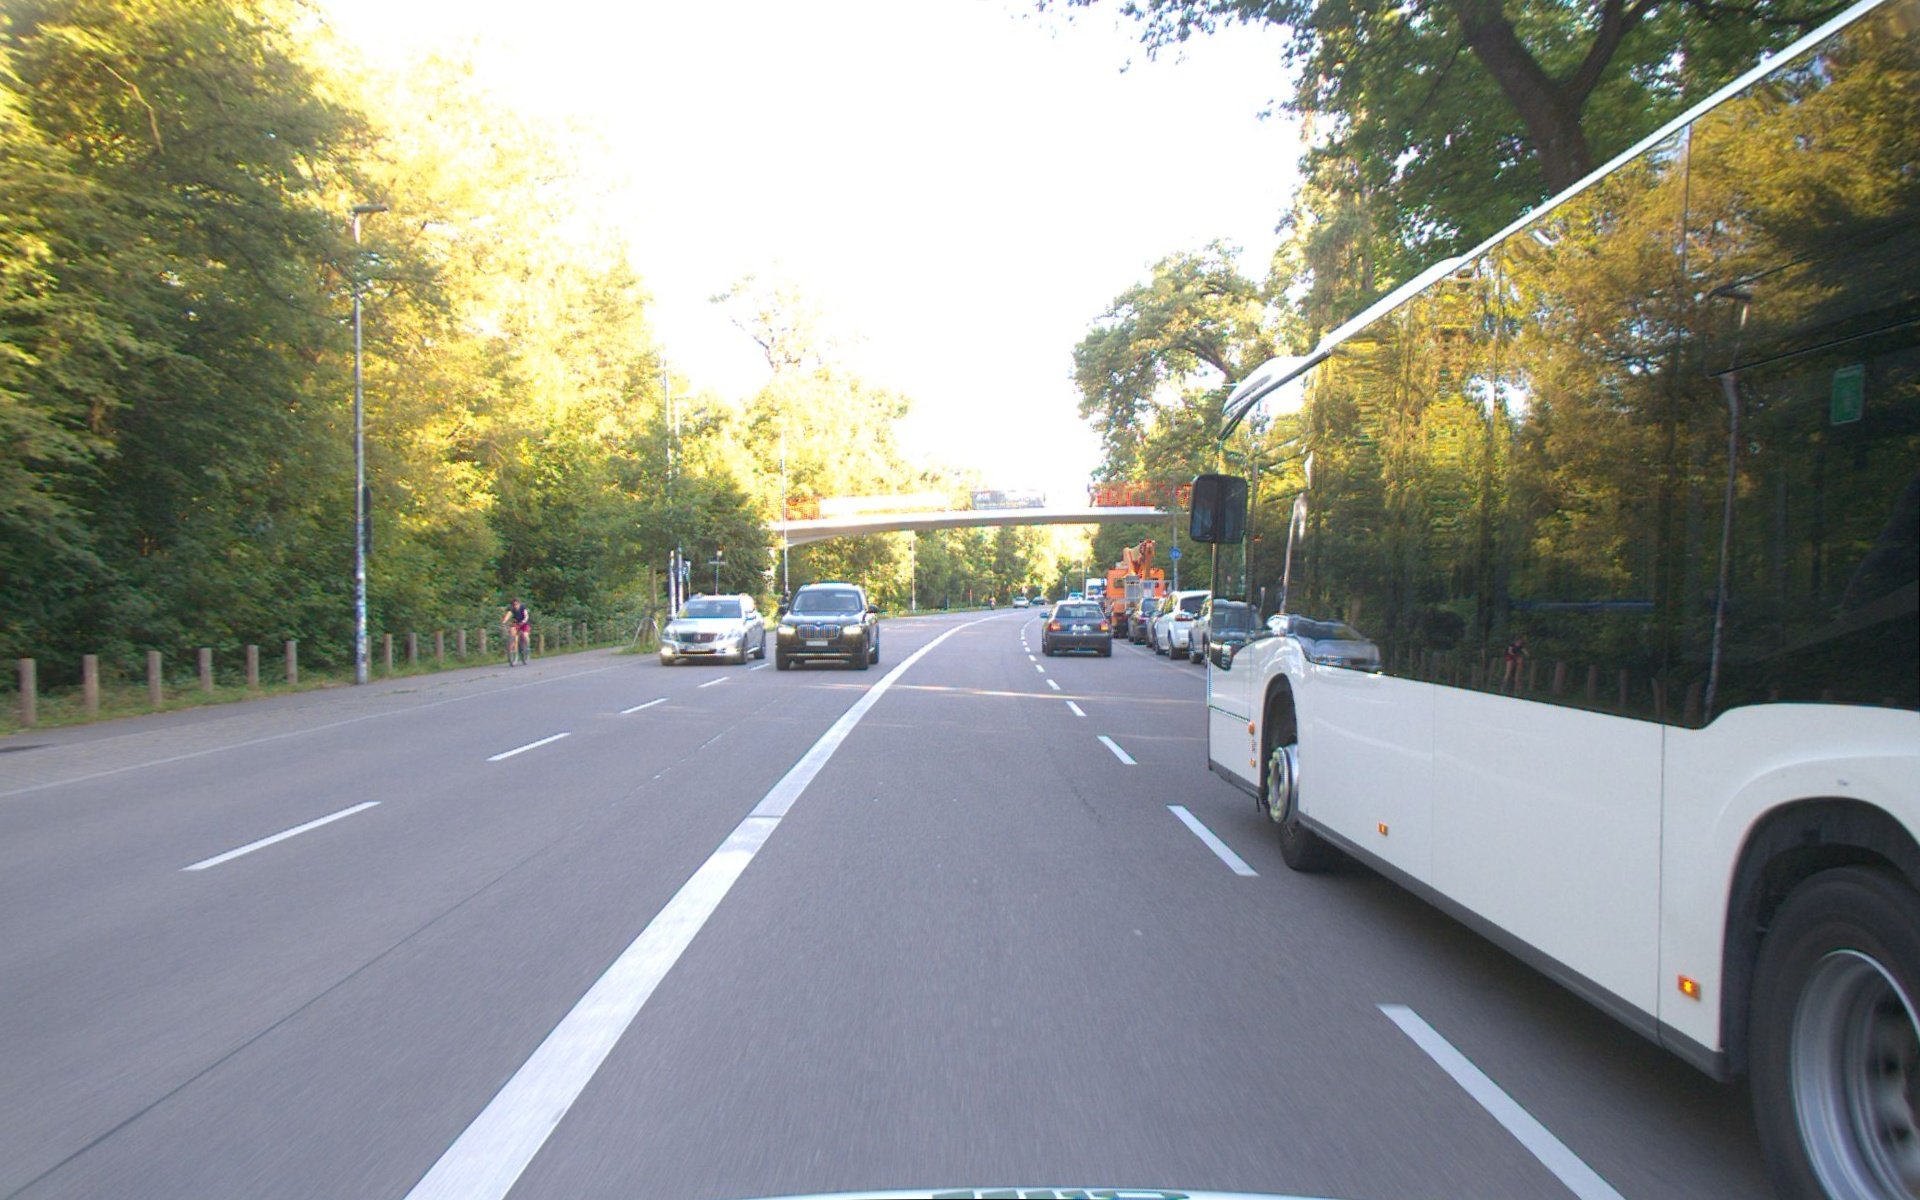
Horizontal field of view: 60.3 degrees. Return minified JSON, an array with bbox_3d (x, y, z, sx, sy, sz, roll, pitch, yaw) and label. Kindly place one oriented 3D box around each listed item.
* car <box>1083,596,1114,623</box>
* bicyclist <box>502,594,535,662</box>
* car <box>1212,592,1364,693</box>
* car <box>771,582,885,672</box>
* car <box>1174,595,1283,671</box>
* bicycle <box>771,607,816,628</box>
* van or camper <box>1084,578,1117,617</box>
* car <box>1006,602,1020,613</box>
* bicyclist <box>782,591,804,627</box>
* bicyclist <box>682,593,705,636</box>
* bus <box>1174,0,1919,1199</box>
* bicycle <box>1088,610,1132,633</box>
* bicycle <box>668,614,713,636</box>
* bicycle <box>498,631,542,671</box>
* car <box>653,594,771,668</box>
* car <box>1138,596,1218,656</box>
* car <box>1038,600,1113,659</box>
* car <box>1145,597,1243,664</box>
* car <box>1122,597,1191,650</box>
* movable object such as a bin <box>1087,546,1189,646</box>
[{"bbox_3d":[8.375,0.537,99.772,1.686,1.522,3.777,-3,0,6],"label":"car"},{"bbox_3d":[-10.033,0.633,37.624,0.489,1.510,0.761,-2,0,0],"label":"bicyclist"},{"bbox_3d":[5.395,0.666,27.652,1.692,1.551,4.089,0,0,-1],"label":"car"},{"bbox_3d":[-2.653,0.523,34.187,1.878,1.734,4.443,0,0,1],"label":"car"},{"bbox_3d":[5.841,0.684,36.366,1.692,1.569,4.089,0,0,-1],"label":"car"},{"bbox_3d":[-7.699,0.795,76.447,1.885,0.951,0.825,-1,0,12],"label":"bicycle"},{"bbox_3d":[9.375,-0.171,110.839,2.074,2.561,5.982,-1,0,3],"label":"van or camper"},{"bbox_3d":[6.925,0.955,217.607,1.646,1.431,3.891,-2,0,4],"label":"car"},{"bbox_3d":[-7.706,0.416,76.447,0.778,1.672,0.842,0,0,12],"label":"bicyclist"},{"bbox_3d":[-12.308,0.667,76.315,0.778,1.934,0.818,0,0,12],"label":"bicyclist"},{"bbox_3d":[3.101,-0.054,6.368,2.649,3.278,12.274,0,0,-2],"label":"bus"},{"bbox_3d":[7.275,1.046,80.474,2.020,1.087,0.870,-2,-1,-1],"label":"bicycle"},{"bbox_3d":[-12.425,1.162,76.333,1.885,0.951,0.825,-1,0,12],"label":"bicycle"},{"bbox_3d":[-10.008,1.148,37.646,0.485,0.828,1.808,-3,0,0],"label":"bicycle"},{"bbox_3d":[-5.456,0.652,36.944,1.859,1.558,4.530,0,0,1],"label":"car"},{"bbox_3d":[6.166,0.697,47.154,1.692,1.601,4.089,0,0,-1],"label":"car"},{"bbox_3d":[2.934,0.731,42.775,1.692,1.467,4.090,0,0,0],"label":"car"},{"bbox_3d":[5.851,0.740,41.754,1.801,1.601,4.459,0,0,-1],"label":"car"},{"bbox_3d":[6.220,0.720,52.710,1.692,1.601,4.089,0,0,-1],"label":"car"},{"bbox_3d":[6.440,-0.144,60.963,2.703,3.429,7.597,0,0,-2],"label":"movable object such as a bin"}]
